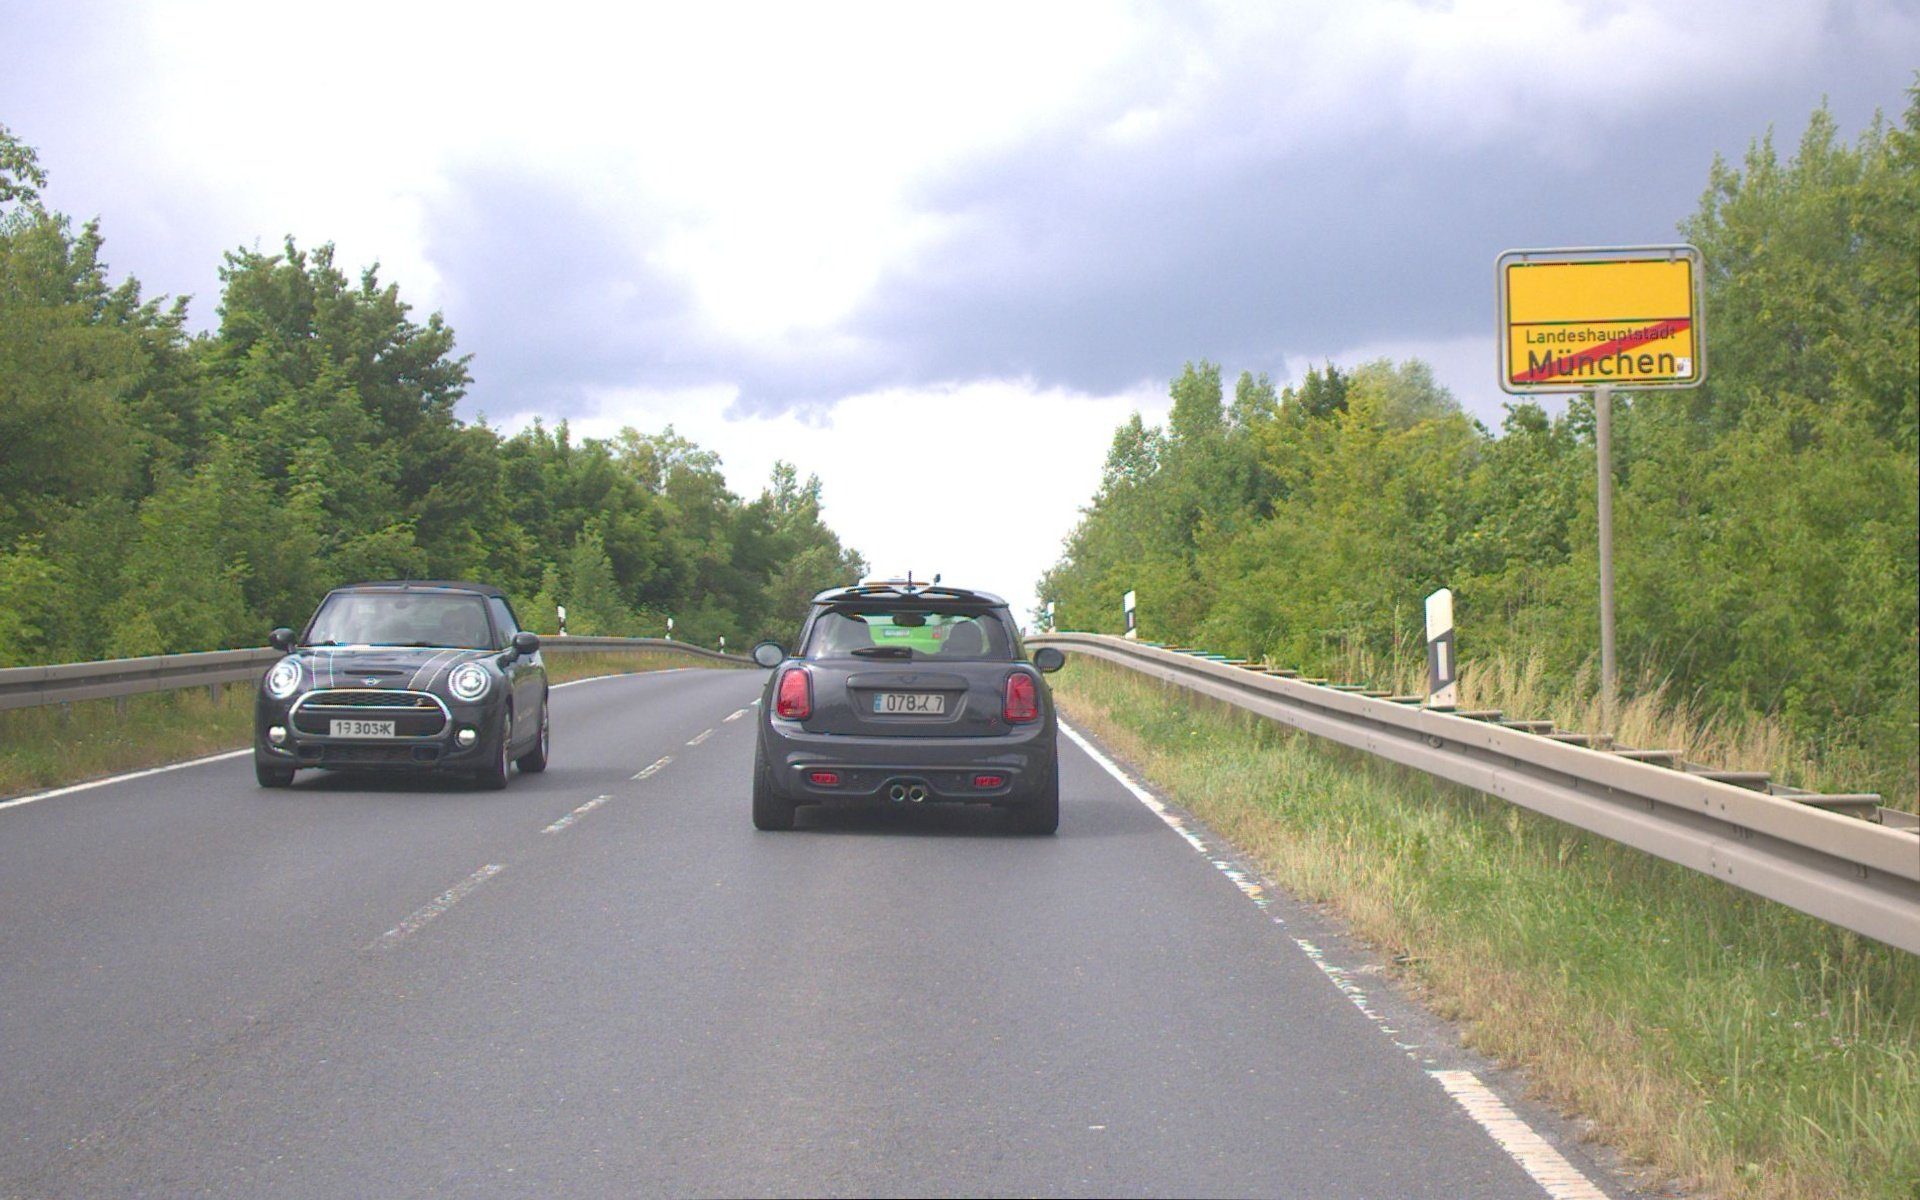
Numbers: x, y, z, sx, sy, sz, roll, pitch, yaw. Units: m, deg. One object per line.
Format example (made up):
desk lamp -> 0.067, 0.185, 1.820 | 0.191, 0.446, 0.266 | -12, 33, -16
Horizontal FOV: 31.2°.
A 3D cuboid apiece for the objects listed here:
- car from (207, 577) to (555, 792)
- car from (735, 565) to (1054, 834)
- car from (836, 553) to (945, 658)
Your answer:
car -> -4.076, 0.558, 24.794 | 1.835, 1.415, 4.000 | 0, 0, 0
car -> -0.320, 0.542, 20.930 | 1.732, 1.451, 4.000 | 1, 0, 1
car -> -1.354, 0.098, 68.559 | 2.022, 2.006, 4.000 | 0, 0, 1
